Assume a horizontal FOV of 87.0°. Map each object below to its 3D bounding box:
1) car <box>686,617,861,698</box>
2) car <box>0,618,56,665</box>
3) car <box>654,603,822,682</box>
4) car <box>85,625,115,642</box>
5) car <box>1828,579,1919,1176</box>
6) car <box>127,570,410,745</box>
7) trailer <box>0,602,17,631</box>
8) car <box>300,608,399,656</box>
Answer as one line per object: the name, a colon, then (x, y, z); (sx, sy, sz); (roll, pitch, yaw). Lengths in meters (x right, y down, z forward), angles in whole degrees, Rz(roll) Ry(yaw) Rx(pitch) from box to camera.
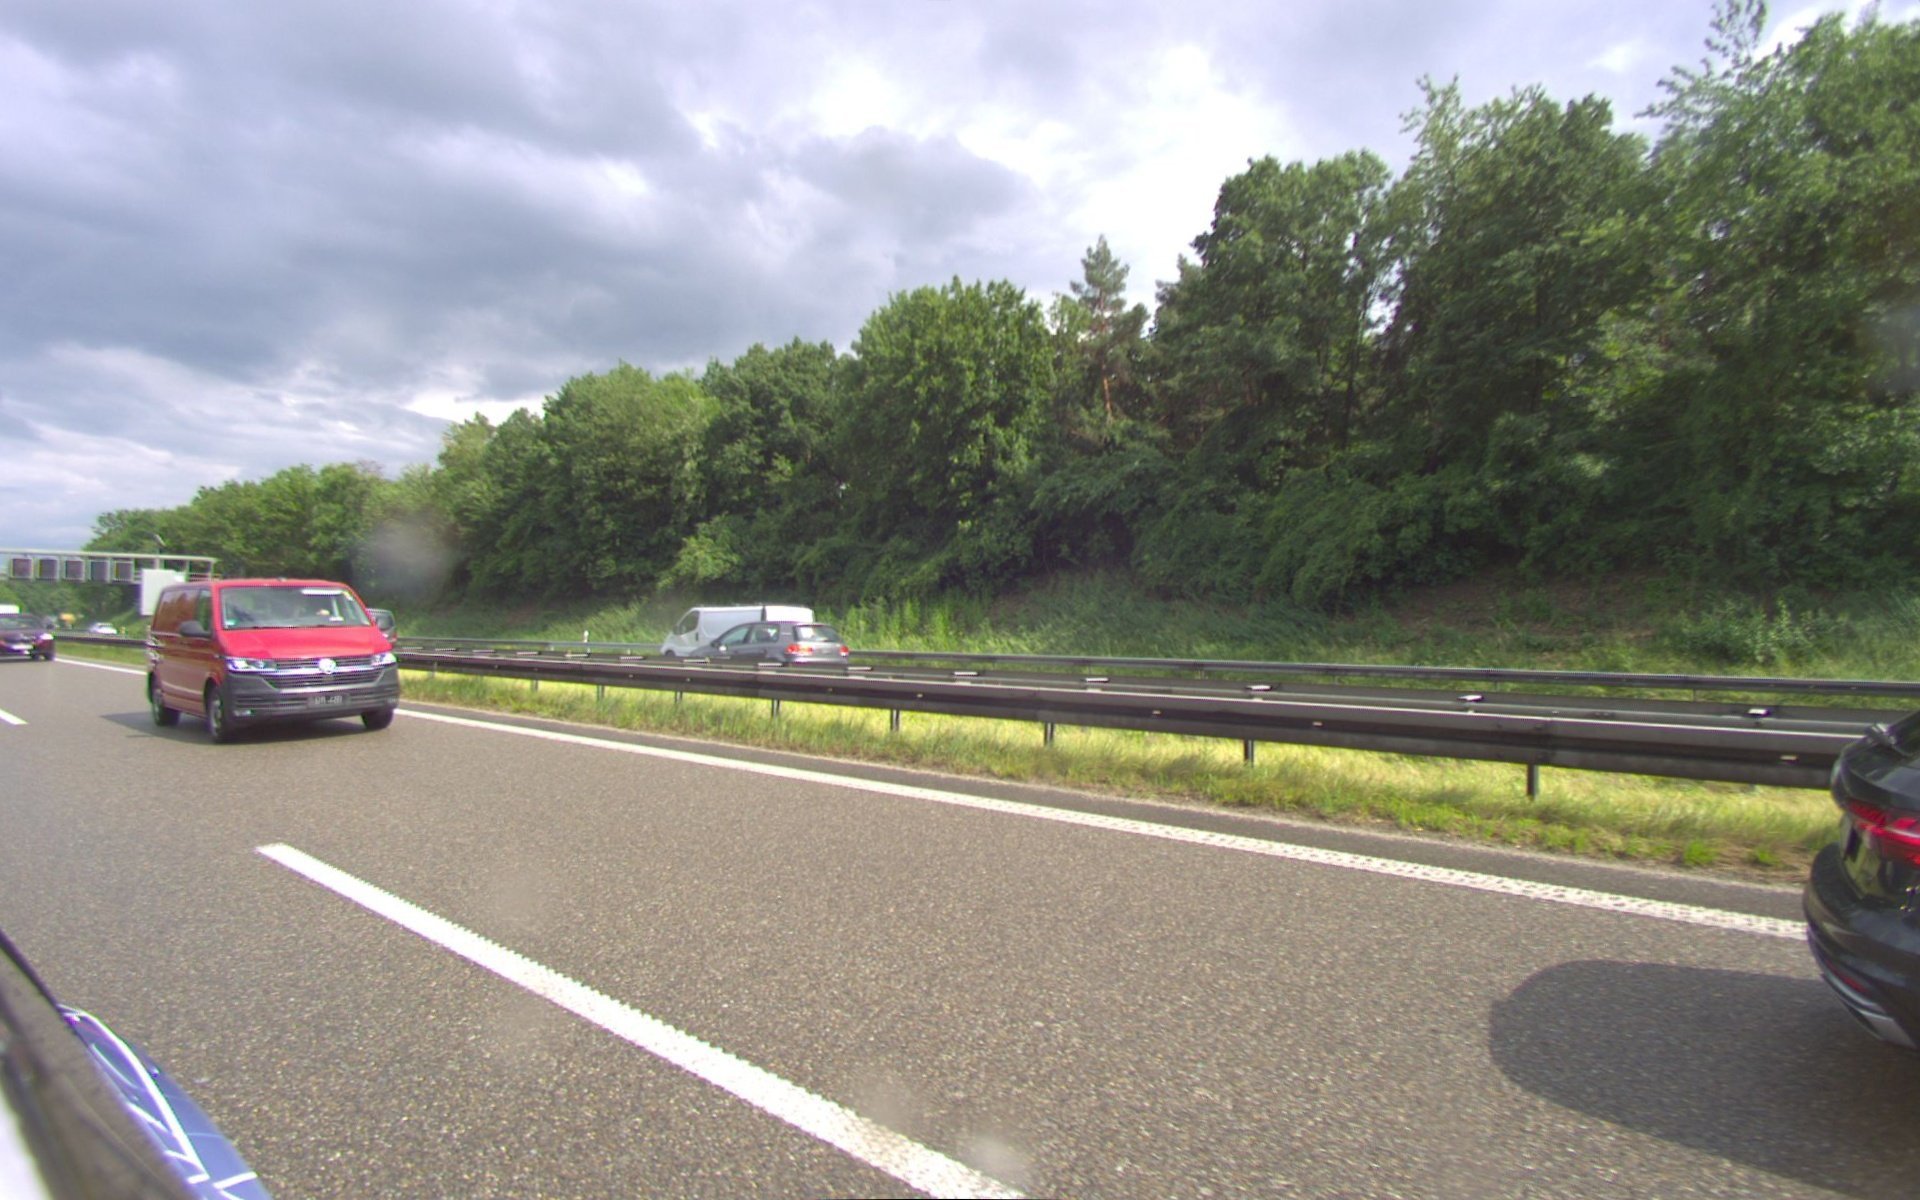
car: (-3.870, 1.113, 20.724); (3.649, 1.475, 1.586); (-1, 0, 40)
car: (-32.984, 1.397, 34.994); (4.837, 1.508, 1.983); (-1, 0, 41)
car: (-6.170, 1.107, 27.780); (5.037, 1.961, 1.849); (-1, 0, 40)
car: (-89.507, 3.486, 105.329); (4.233, 1.675, 1.714); (-1, 0, 40)
car: (4.573, 0.633, 1.601); (4.837, 1.429, 1.775); (-1, 0, 41)
car: (-9.120, 0.636, 13.166); (4.837, 1.880, 1.902); (-1, 0, 41)
trailer: (-148.635, 2.546, 156.226); (14.082, 4.406, 2.834); (-1, 0, 40)
car: (-23.249, 1.172, 38.492); (4.659, 1.675, 1.827); (-1, 0, 40)
